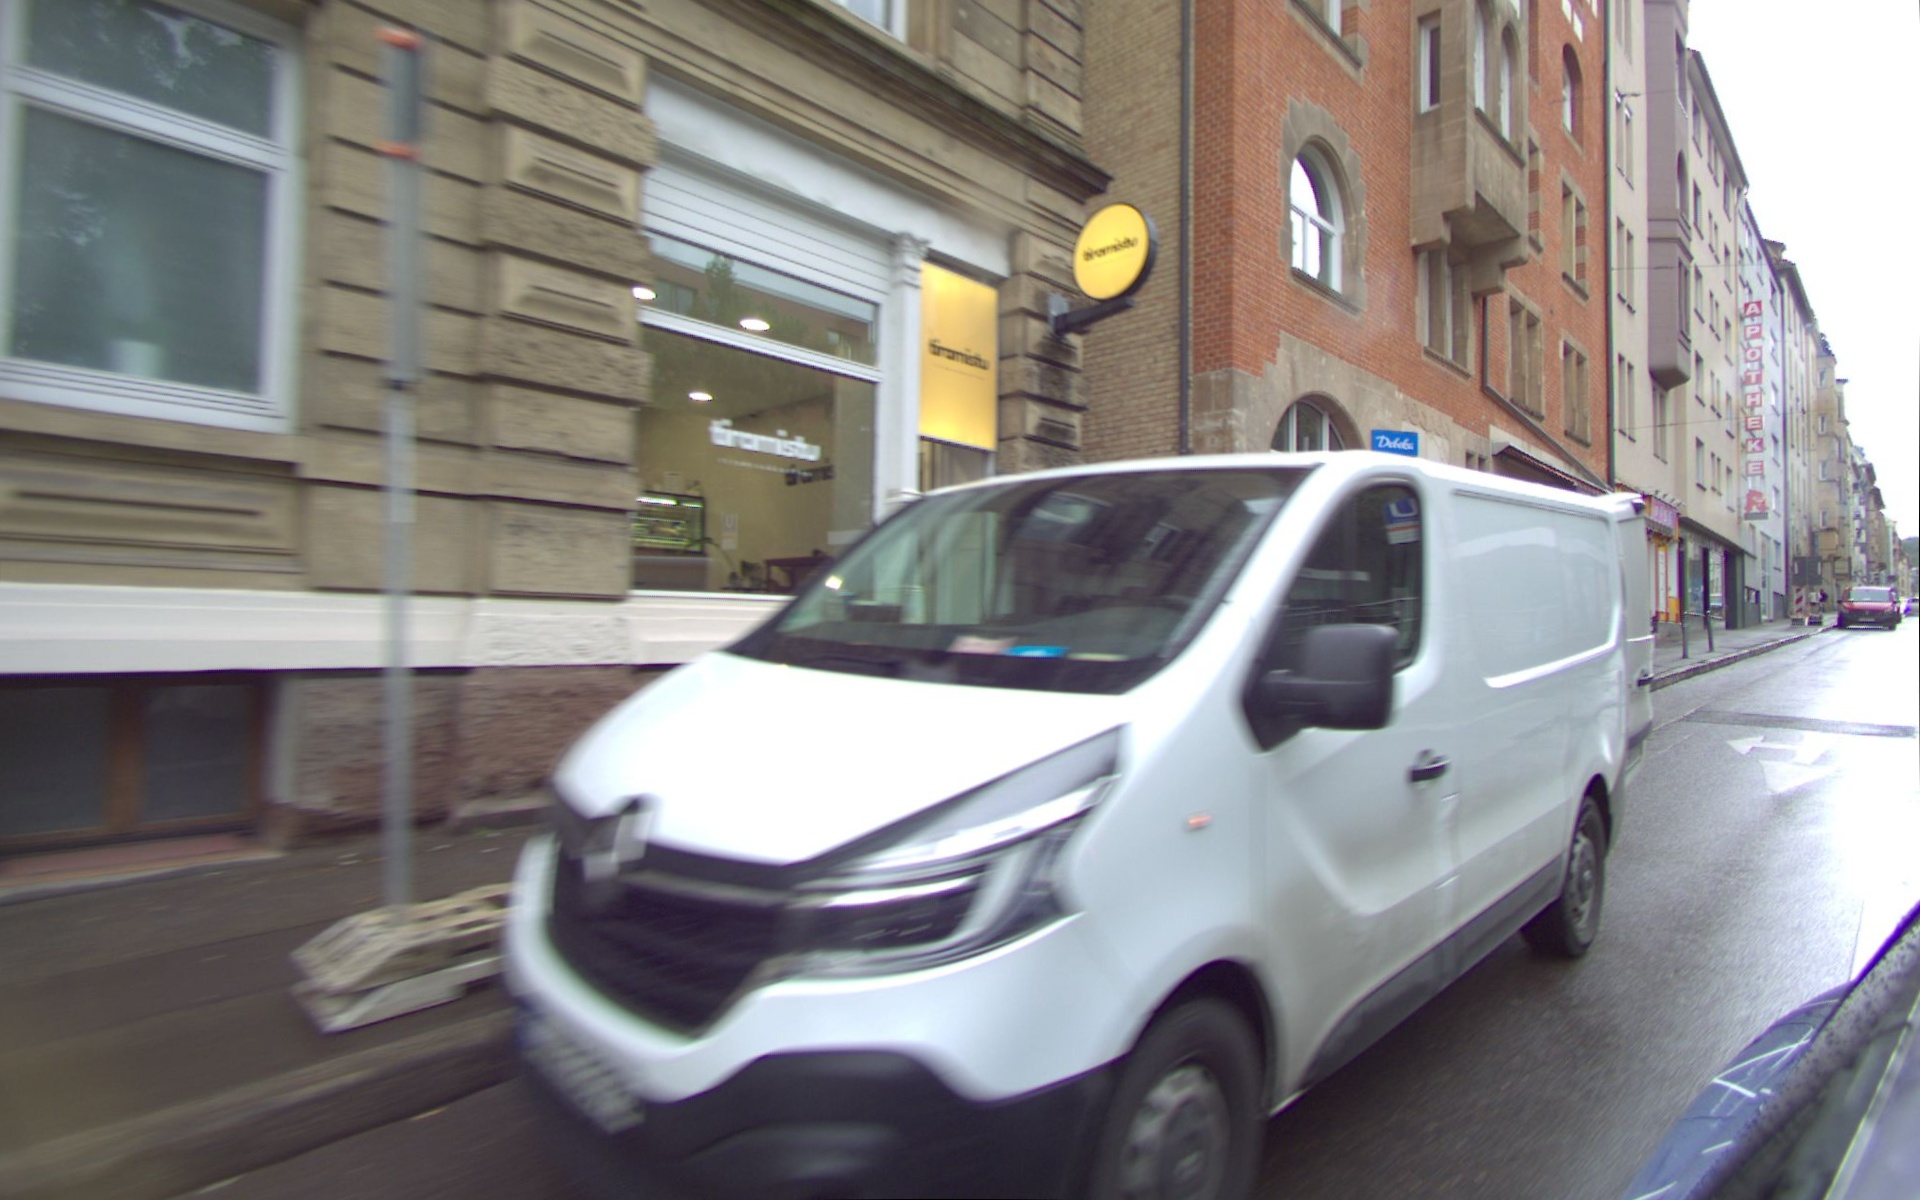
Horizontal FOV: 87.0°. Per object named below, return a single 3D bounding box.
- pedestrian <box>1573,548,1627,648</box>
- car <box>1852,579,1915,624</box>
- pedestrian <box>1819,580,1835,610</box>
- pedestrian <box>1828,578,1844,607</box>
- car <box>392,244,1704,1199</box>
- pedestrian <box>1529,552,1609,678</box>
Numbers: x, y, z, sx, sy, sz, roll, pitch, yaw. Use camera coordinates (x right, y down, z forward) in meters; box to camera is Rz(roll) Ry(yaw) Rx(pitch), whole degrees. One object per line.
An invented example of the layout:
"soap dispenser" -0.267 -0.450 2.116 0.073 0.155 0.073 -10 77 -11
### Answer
"pedestrian" 13.503 -0.053 21.352 0.779 2.039 0.922 1 1 45
"car" 40.152 0.052 44.054 1.877 1.872 3.941 -1 0 41
"pedestrian" 52.100 -0.311 60.790 0.675 1.813 0.692 1 1 45
"pedestrian" 54.385 -0.467 62.821 0.672 1.813 0.695 1 1 34
"car" 1.250 0.470 4.055 5.892 1.929 1.821 -1 -1 -44
"pedestrian" 8.919 0.197 14.818 0.778 1.761 0.815 0 1 -44
